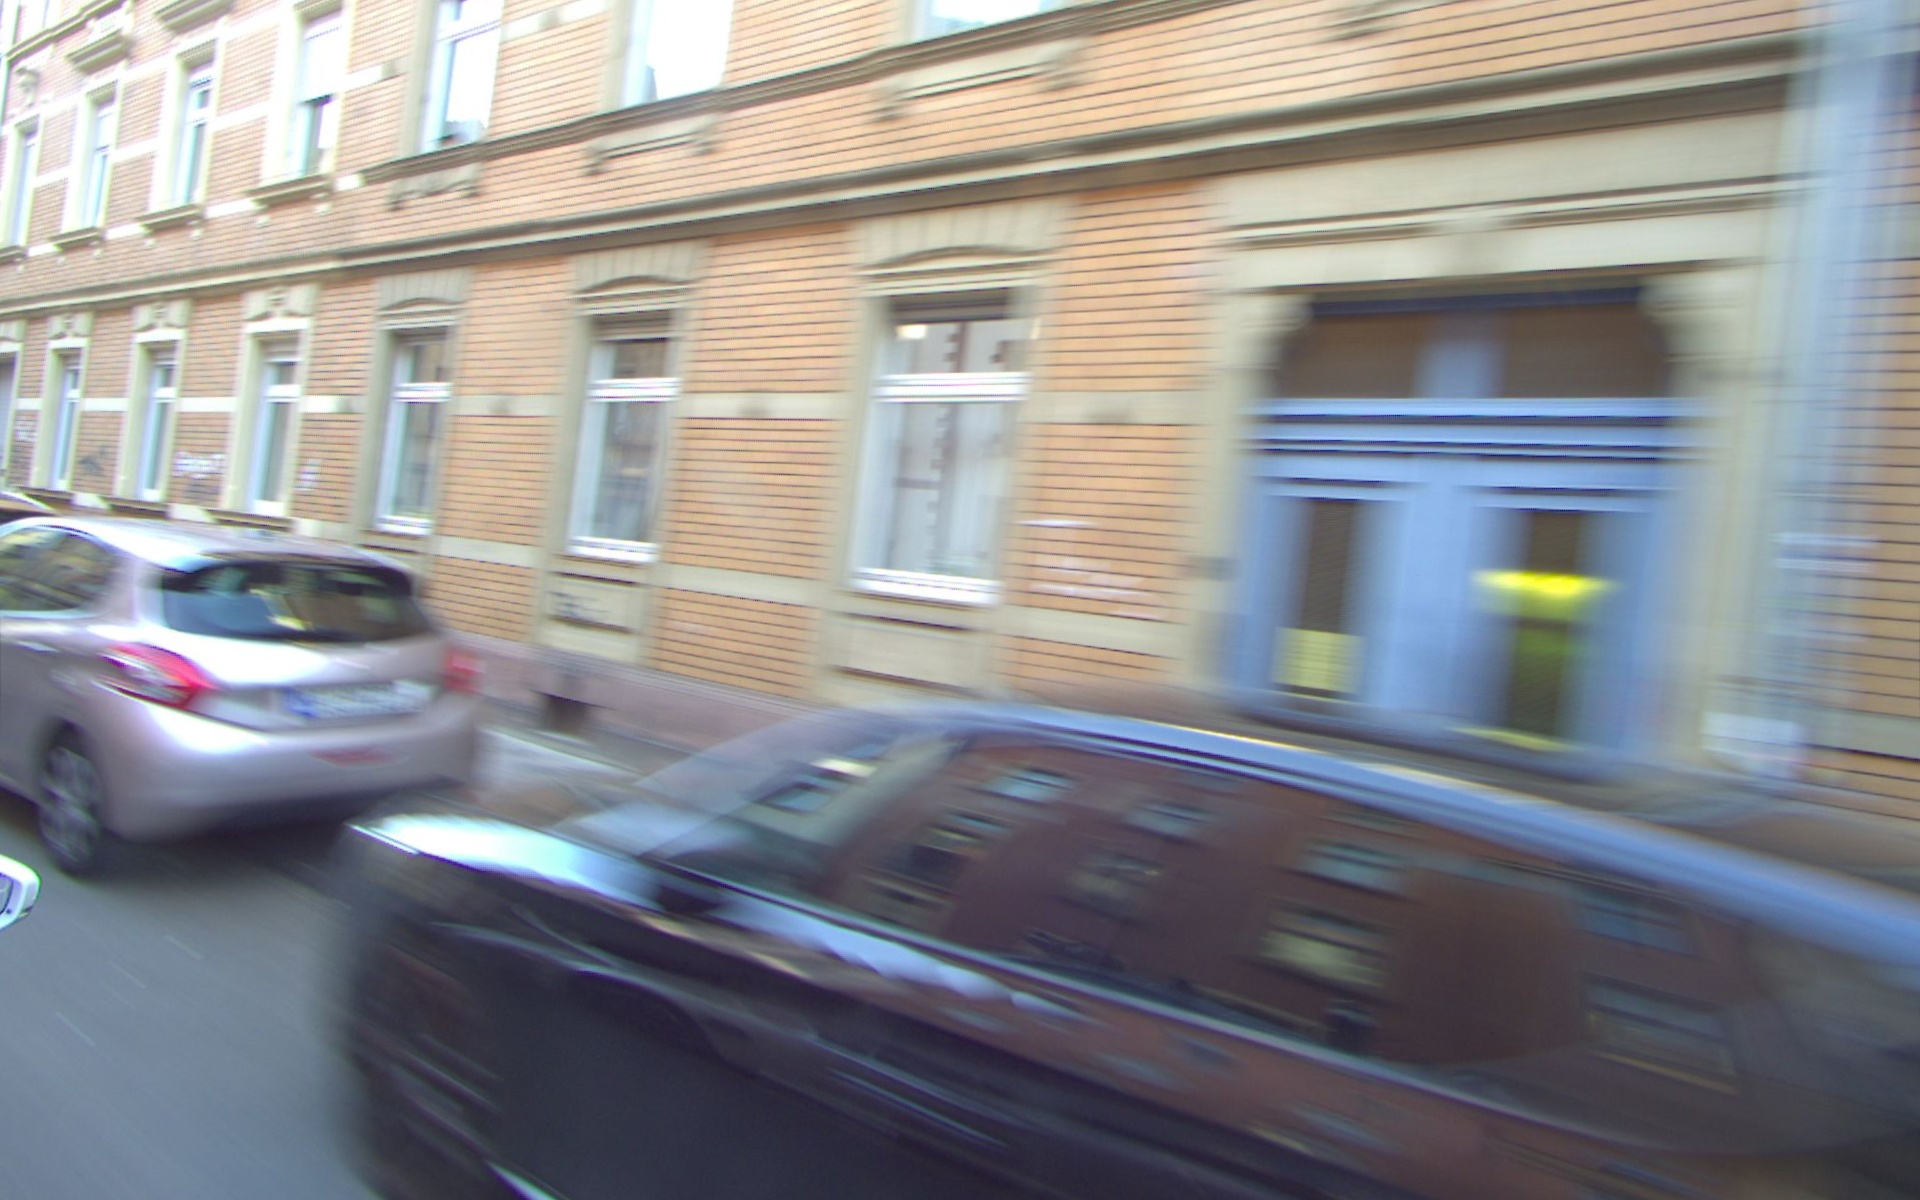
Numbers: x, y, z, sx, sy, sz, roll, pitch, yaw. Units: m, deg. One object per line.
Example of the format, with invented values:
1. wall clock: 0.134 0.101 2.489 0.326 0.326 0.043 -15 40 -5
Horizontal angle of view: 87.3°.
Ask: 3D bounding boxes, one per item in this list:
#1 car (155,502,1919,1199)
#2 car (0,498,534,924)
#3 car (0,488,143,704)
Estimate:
1. car: 0.048 0.732 2.470 4.246 1.413 1.780 7 -1 32
2. car: -4.404 0.286 5.466 4.024 1.437 1.725 7 4 30
3. car: -8.377 -0.209 7.862 4.000 1.465 1.754 7 2 30
